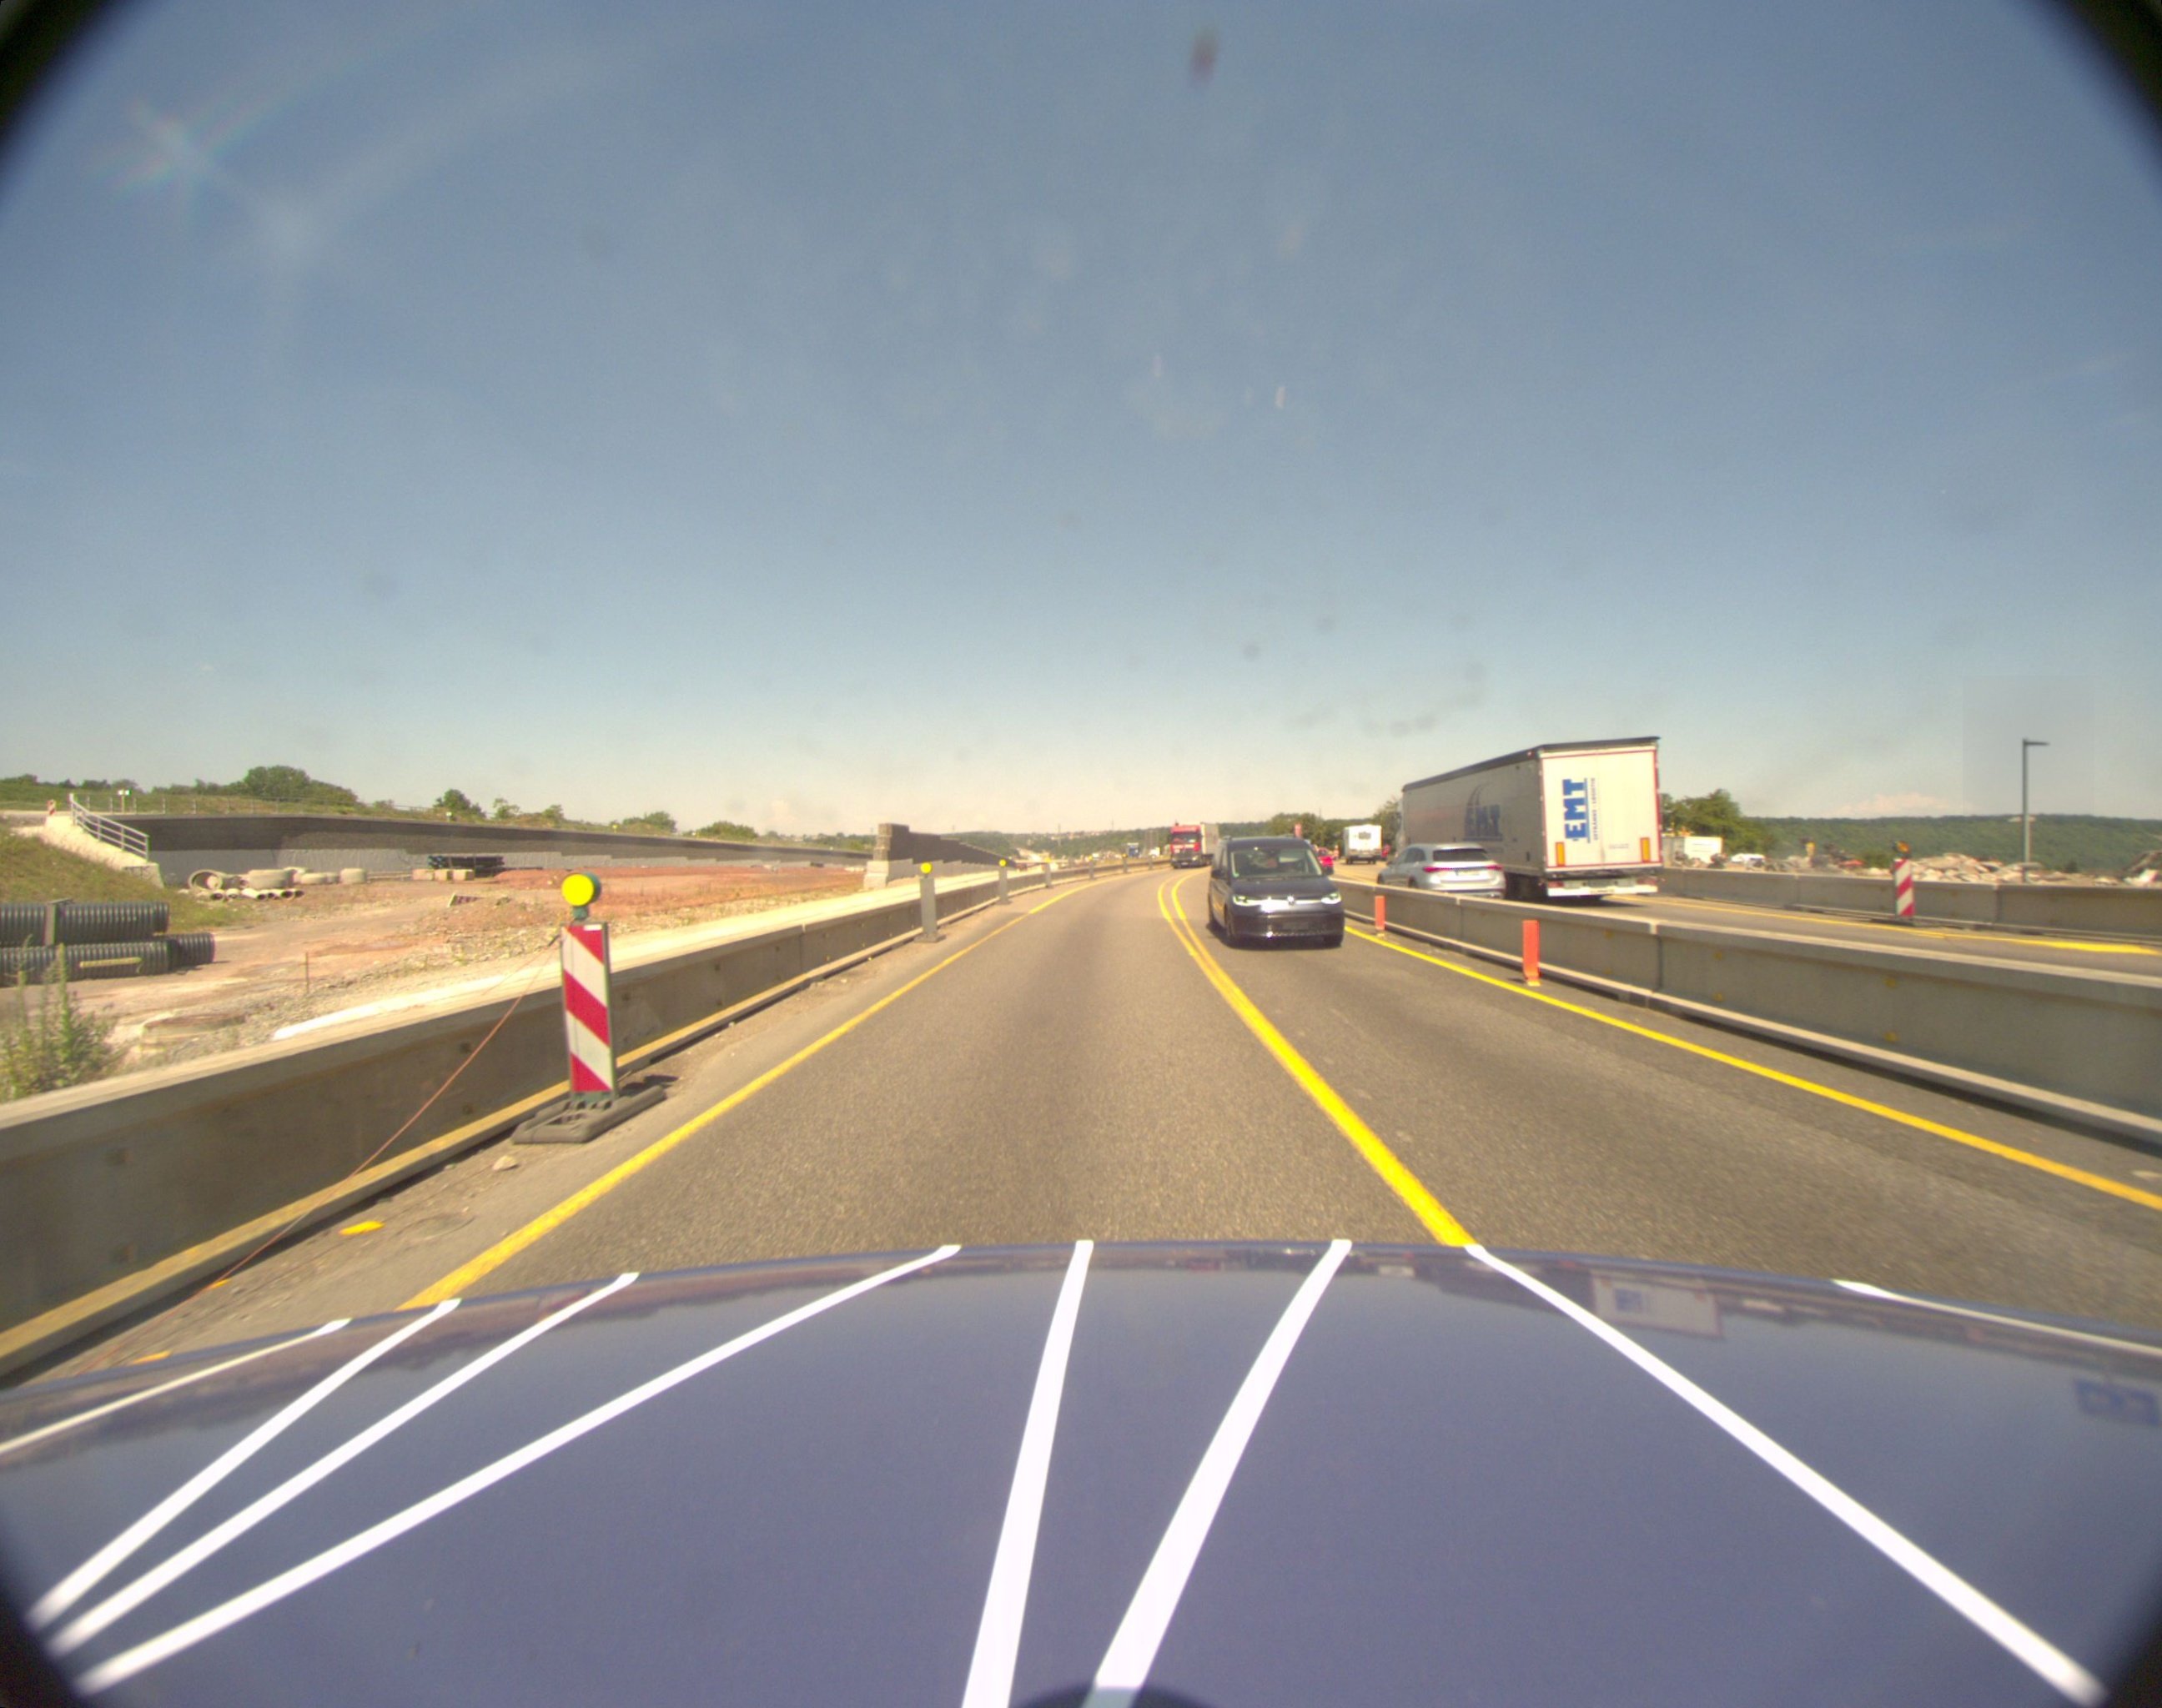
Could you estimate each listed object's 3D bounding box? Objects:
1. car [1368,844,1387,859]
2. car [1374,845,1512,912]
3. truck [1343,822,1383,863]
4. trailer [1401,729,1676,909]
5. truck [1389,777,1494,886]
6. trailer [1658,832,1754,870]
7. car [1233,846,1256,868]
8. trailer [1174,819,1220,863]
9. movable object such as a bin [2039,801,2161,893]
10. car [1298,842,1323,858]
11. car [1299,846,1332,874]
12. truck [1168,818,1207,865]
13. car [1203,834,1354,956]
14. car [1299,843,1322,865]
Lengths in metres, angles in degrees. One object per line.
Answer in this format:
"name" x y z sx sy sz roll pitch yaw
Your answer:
"car" 32.717 -0.260 83.933 1.722 1.618 4.341 -1 0 18
"car" 8.835 0.530 19.018 1.799 1.467 4.780 -1 0 8
"truck" 22.458 -0.856 60.818 2.444 3.054 7.256 -1 0 16
"trailer" 13.386 -0.818 24.351 2.765 4.090 13.988 -1 0 10
"truck" 14.692 -0.847 31.409 2.706 4.038 5.505 -1 1 12
"trailer" 50.759 -0.264 61.780 5.579 2.979 2.882 -1 1 -3
"car" 13.540 0.221 63.133 1.797 1.776 4.003 -1 0 11
"trailer" 11.197 -1.179 72.298 2.698 3.852 12.437 -1 0 16
"movable object such as a bin" 37.761 -0.252 27.490 1.995 3.122 4.284 -1 1 22
"car" 29.274 -0.524 96.881 1.870 1.942 4.892 -1 0 2
"car" 12.909 0.297 41.767 1.670 1.467 3.975 -1 0 18
"truck" 9.383 -1.065 66.331 2.623 3.880 4.939 -1 1 16
"car" 3.318 0.593 13.647 1.925 1.779 4.605 -2 1 6
"car" 17.727 -0.033 58.834 1.662 1.596 4.401 -1 0 16
